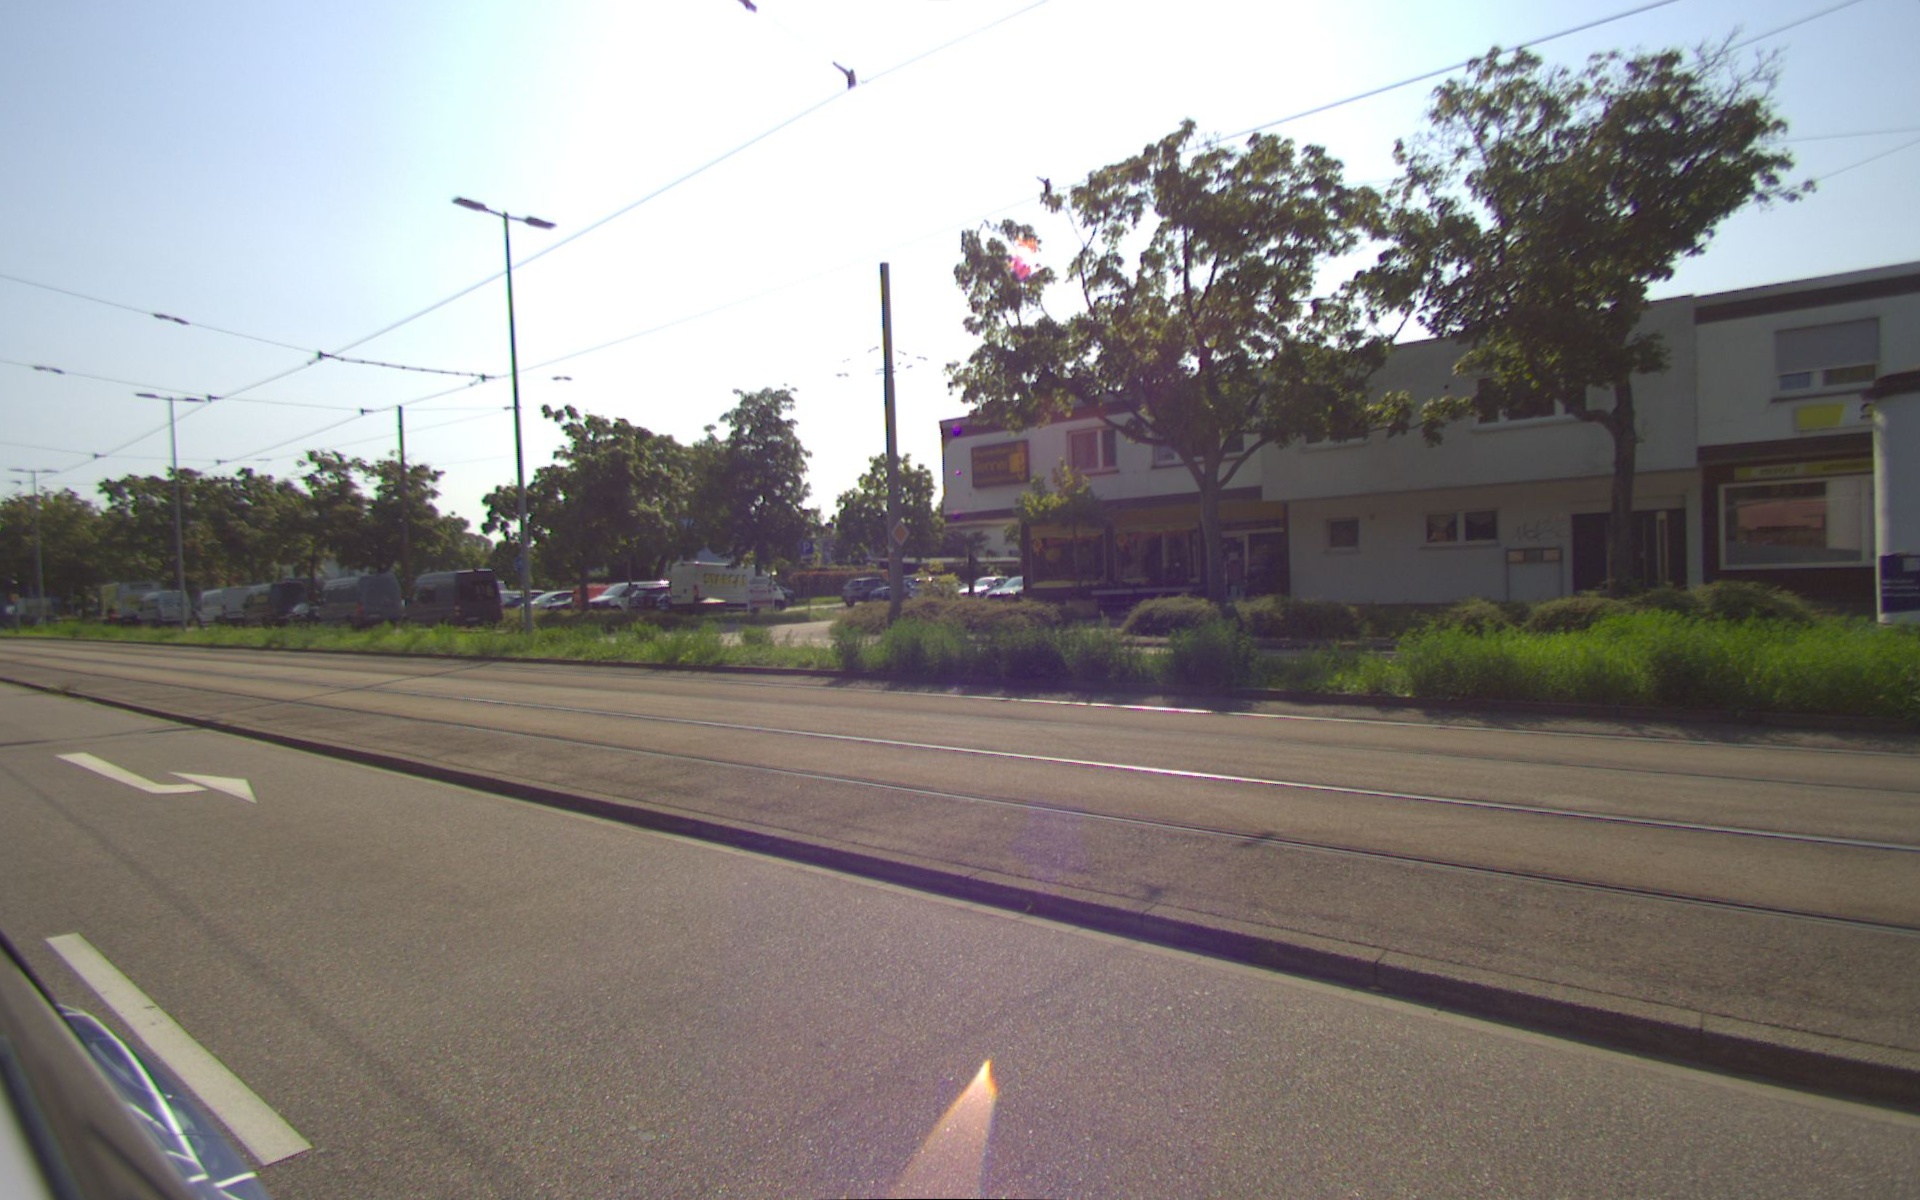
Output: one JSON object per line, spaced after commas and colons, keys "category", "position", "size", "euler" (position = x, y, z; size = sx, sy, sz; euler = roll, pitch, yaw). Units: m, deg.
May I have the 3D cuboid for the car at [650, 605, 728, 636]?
{"category": "car", "position": [-13.117, 0.976, 49.144], "size": [1.631, 1.437, 3.372], "euler": [-1, 0, 38]}

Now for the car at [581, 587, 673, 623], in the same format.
{"category": "car", "position": [-17.183, 0.250, 52.364], "size": [1.631, 1.798, 4.357], "euler": [-1, 0, 38]}

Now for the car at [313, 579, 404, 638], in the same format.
{"category": "car", "position": [-29.376, 0.408, 49.320], "size": [6.467, 2.605, 1.967], "euler": [-1, 3, 43]}

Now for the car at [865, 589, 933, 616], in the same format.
{"category": "car", "position": [-3.404, 0.139, 56.698], "size": [3.663, 1.353, 1.492], "euler": [-3, 1, -43]}

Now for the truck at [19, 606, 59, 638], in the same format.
{"category": "truck", "position": [-96.419, 2.280, 105.942], "size": [8.785, 3.145, 2.249], "euler": [-1, 0, 42]}

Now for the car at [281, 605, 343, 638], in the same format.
{"category": "car", "position": [-34.114, 1.108, 53.250], "size": [3.832, 1.563, 1.726], "euler": [-1, 2, 42]}

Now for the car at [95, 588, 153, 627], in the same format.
{"category": "car", "position": [-64.071, 0.602, 77.518], "size": [7.225, 2.826, 2.103], "euler": [-1, 0, 40]}

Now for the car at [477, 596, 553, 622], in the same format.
{"category": "car", "position": [-26.922, 0.531, 61.291], "size": [1.631, 1.461, 3.886], "euler": [-1, 0, 38]}

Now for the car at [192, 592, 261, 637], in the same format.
{"category": "car", "position": [-45.213, 0.890, 62.320], "size": [5.626, 2.606, 2.111], "euler": [-1, 0, 40]}

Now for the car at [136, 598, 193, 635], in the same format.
{"category": "car", "position": [-56.349, 1.158, 71.646], "size": [4.826, 2.477, 2.122], "euler": [-1, 0, 38]}

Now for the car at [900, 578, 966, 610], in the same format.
{"category": "car", "position": [-1.446, -0.351, 55.552], "size": [1.873, 1.513, 3.417], "euler": [-2, 3, 36]}

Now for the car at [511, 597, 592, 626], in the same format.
{"category": "car", "position": [-23.209, 0.633, 57.642], "size": [1.618, 1.474, 4.128], "euler": [-2, 0, 30]}

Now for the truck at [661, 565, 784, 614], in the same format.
{"category": "truck", "position": [-11.132, -0.481, 47.868], "size": [2.256, 2.189, 5.437], "euler": [-1, 0, 38]}

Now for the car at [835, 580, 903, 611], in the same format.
{"category": "car", "position": [-5.339, -0.280, 59.635], "size": [1.759, 1.782, 3.760], "euler": [-1, 0, 44]}

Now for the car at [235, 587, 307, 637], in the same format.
{"category": "car", "position": [-39.039, 0.688, 57.261], "size": [5.906, 2.605, 1.804], "euler": [-2, 2, 41]}

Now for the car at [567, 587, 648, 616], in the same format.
{"category": "car", "position": [-18.955, 0.064, 54.550], "size": [1.631, 1.530, 3.886], "euler": [-1, 0, 38]}

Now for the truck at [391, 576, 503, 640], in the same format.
{"category": "truck", "position": [-21.812, 0.354, 42.949], "size": [5.733, 2.567, 2.061], "euler": [-1, 0, 39]}

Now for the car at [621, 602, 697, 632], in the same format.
{"category": "car", "position": [-15.078, 0.840, 50.801], "size": [1.631, 1.437, 3.372], "euler": [-1, 0, 38]}

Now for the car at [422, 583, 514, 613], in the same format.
{"category": "car", "position": [-32.710, -0.143, 67.354], "size": [2.050, 1.940, 5.136], "euler": [-1, 0, 38]}
